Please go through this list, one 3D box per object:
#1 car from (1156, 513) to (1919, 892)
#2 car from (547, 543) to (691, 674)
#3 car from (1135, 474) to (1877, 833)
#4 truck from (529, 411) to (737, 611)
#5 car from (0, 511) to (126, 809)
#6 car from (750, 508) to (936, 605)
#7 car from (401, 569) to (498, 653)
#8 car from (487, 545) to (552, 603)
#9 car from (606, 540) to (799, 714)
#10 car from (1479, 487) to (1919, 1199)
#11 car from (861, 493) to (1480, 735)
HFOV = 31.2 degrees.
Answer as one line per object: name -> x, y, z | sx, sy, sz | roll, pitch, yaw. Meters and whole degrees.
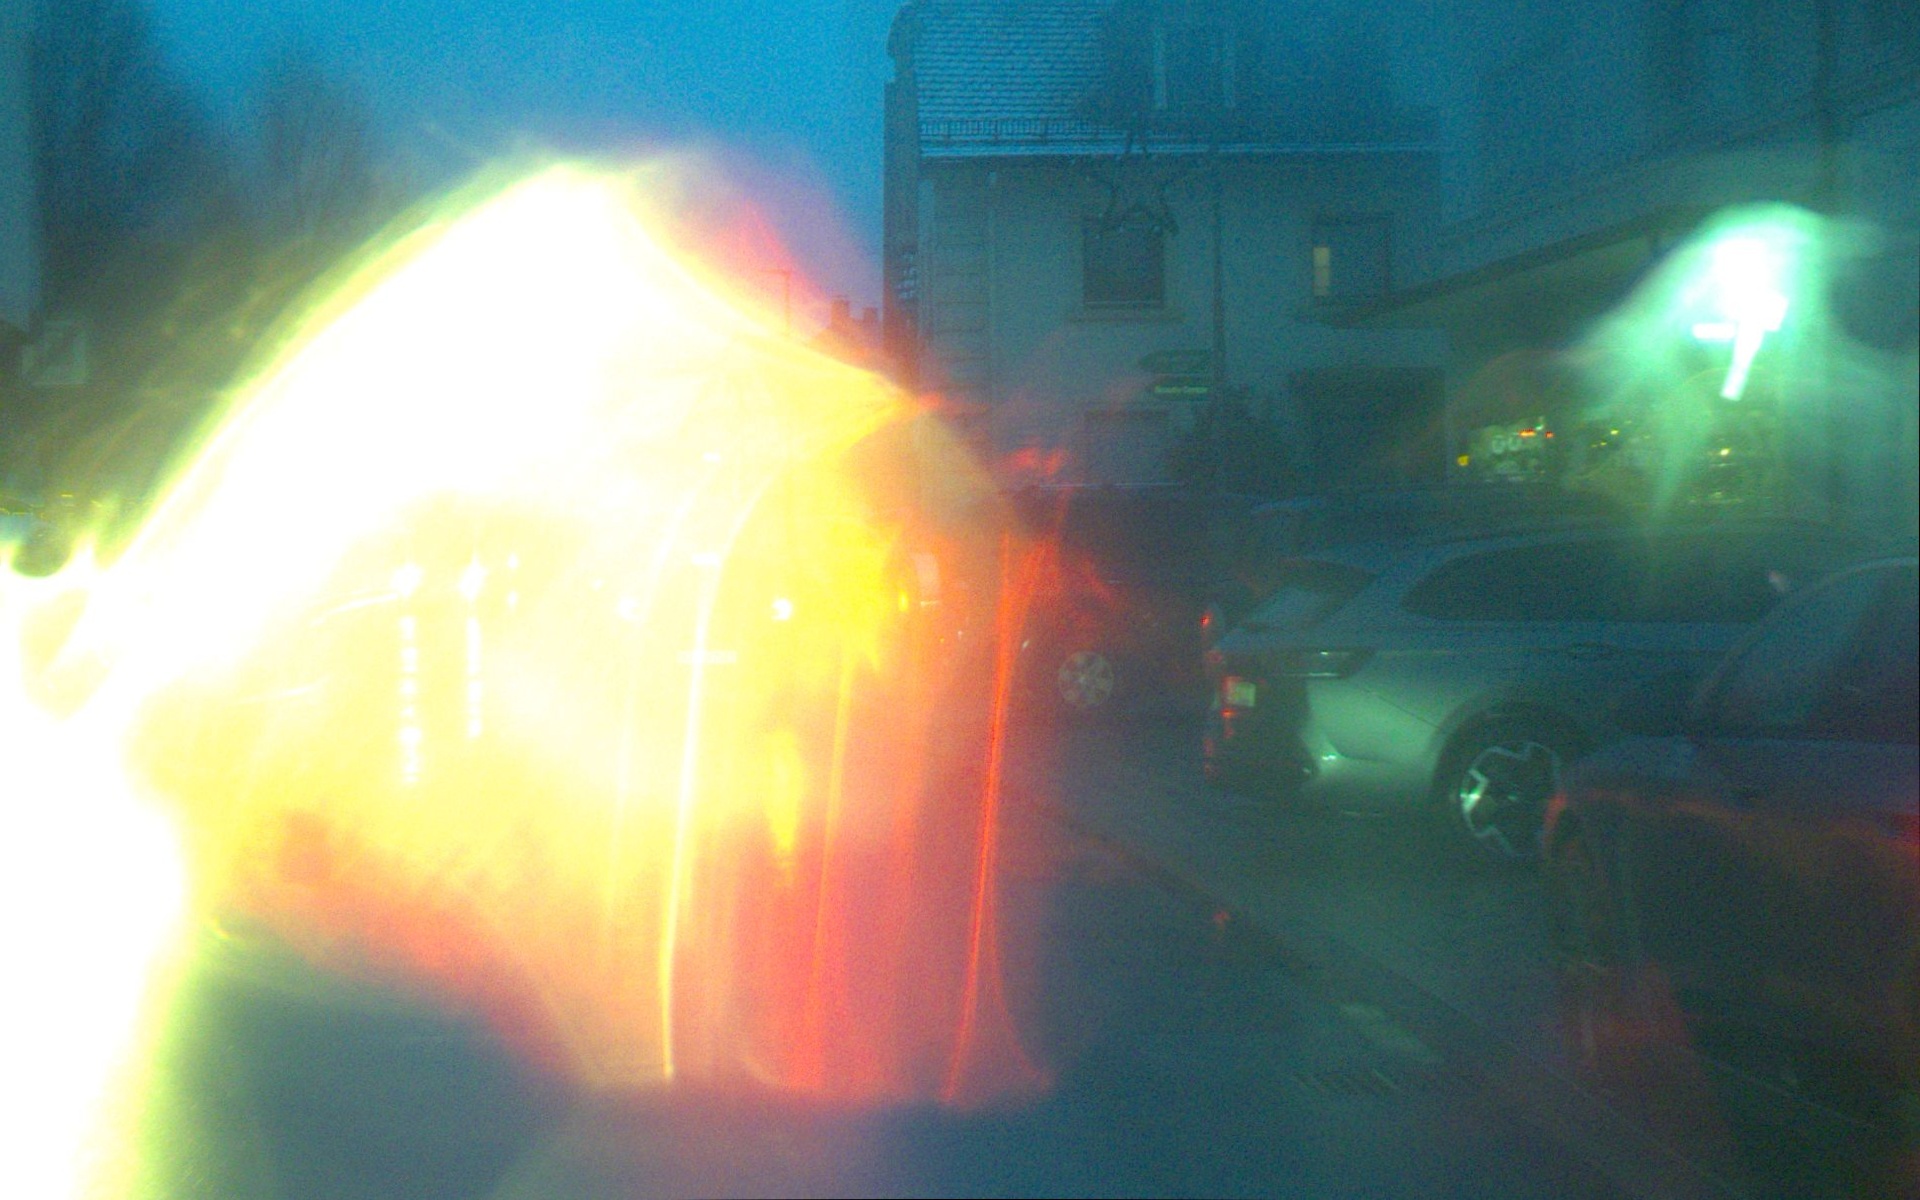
car -> 3.282, 0.388, 15.589 | 4.466, 1.468, 1.898 | -2, 1, -7
car -> -4.089, 0.068, 41.097 | 1.637, 1.476, 3.272 | 0, 1, -6
car -> 2.885, 0.241, 18.494 | 3.503, 1.675, 1.716 | -3, 1, -11
truck -> -5.606, -1.457, 57.809 | 3.014, 3.118, 8.002 | 0, 1, -9
car -> -6.195, 0.280, 20.721 | 1.794, 1.637, 3.813 | 1, 1, -6
car -> -2.612, -0.979, 77.316 | 4.097, 2.155, 1.913 | 0, 1, 1
car -> -9.691, 0.197, 65.460 | 1.637, 1.530, 3.407 | 0, 1, -5
car -> -12.597, -0.763, 98.439 | 1.810, 1.590, 4.400 | 0, 1, -7
car -> -2.371, 0.211, 31.114 | 1.637, 1.476, 3.380 | 0, 1, -6
car -> 2.581, 0.514, 7.432 | 1.882, 1.541, 4.672 | -2, 1, -4
car -> 1.643, 0.074, 27.623 | 4.602, 1.769, 1.946 | -1, 1, -10
